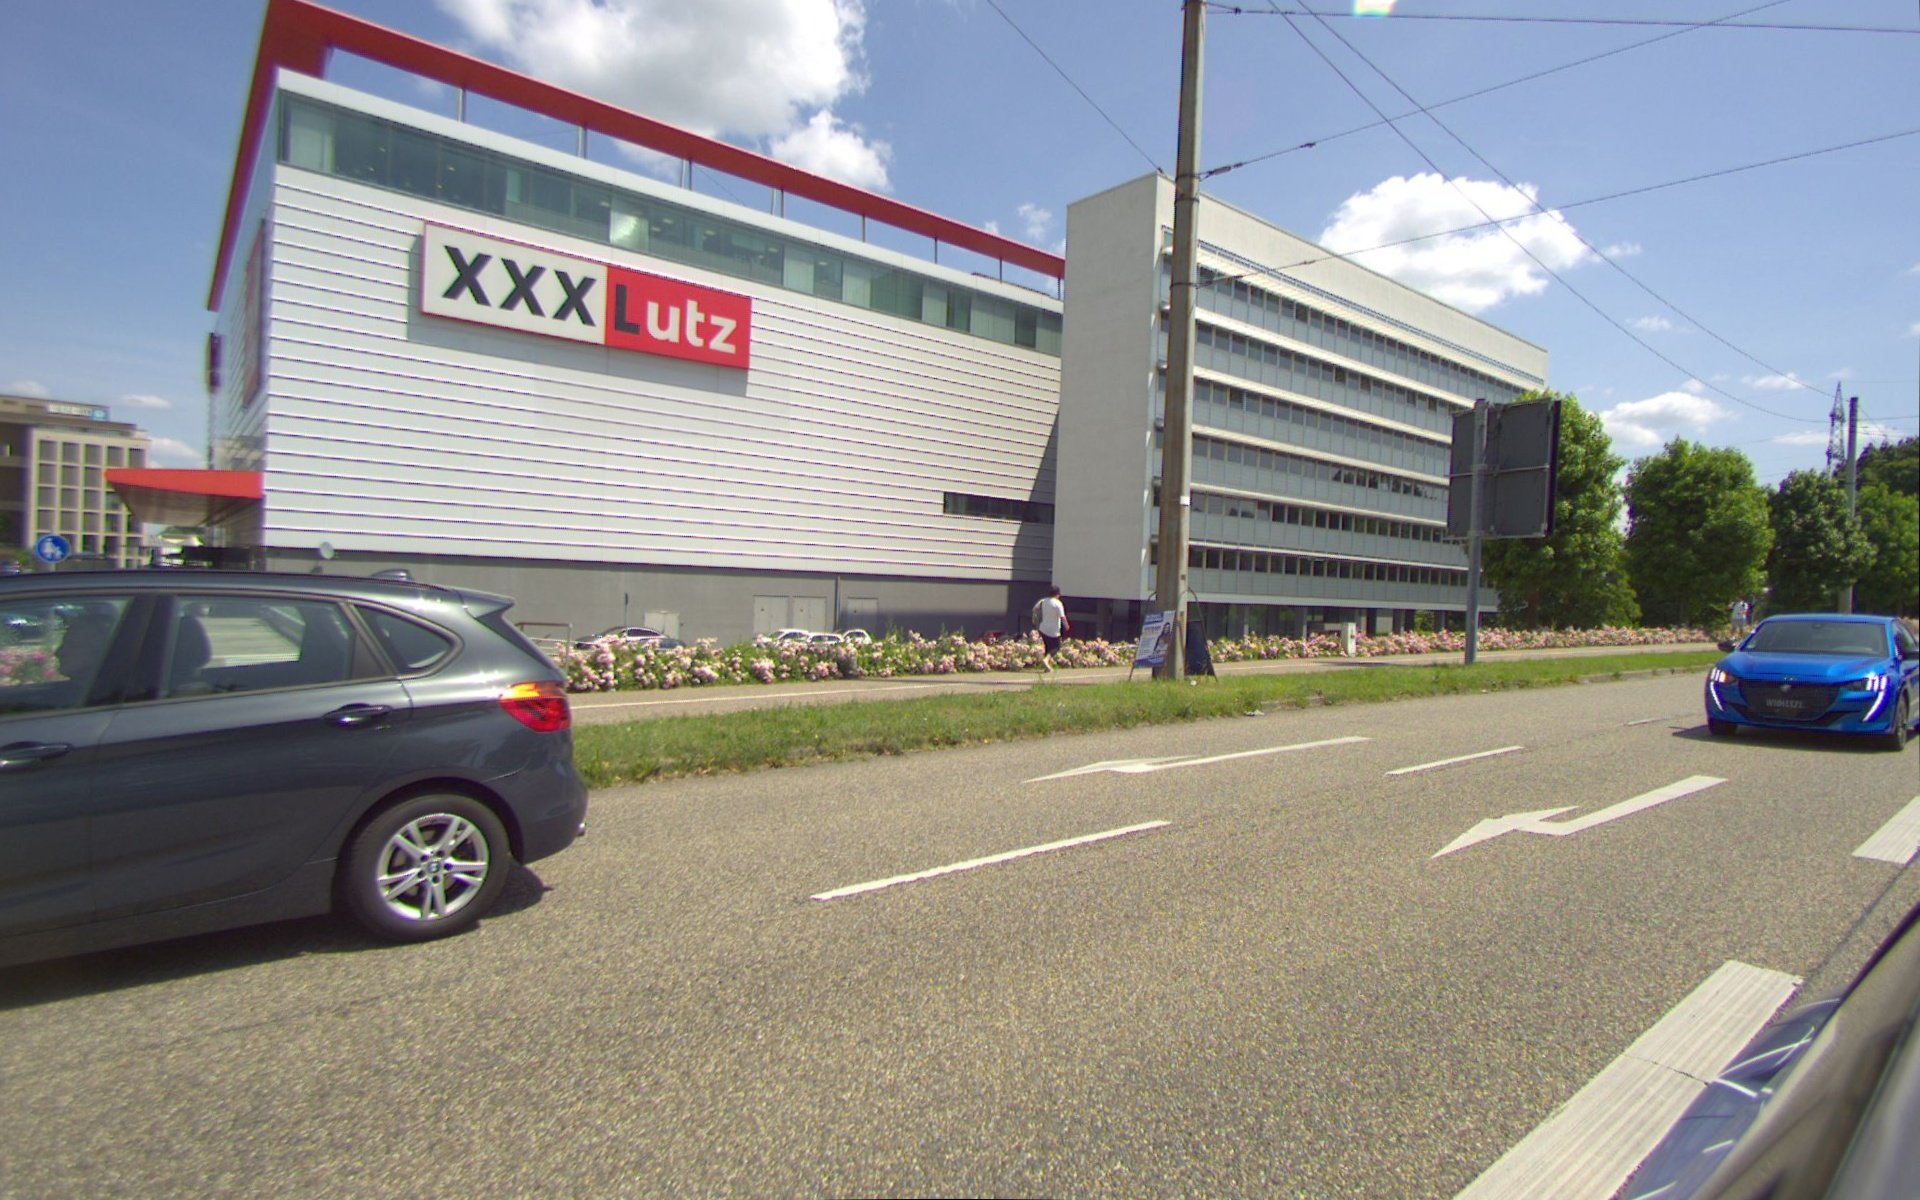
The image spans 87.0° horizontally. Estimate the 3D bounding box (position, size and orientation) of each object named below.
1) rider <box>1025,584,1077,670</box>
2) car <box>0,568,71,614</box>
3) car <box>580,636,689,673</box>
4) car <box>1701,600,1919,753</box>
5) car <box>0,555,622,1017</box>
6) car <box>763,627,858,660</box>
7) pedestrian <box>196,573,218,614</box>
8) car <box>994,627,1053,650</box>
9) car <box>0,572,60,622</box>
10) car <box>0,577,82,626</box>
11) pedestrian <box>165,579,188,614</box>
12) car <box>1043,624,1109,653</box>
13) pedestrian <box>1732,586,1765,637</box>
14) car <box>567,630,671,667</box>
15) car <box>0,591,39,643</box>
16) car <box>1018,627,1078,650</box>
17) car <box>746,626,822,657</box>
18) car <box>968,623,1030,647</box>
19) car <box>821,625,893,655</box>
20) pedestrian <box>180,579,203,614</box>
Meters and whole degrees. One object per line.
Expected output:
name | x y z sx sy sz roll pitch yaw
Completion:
rider | 1.600 0.454 17.774 0.607 1.476 0.670 1 0 -41
car | -43.039 -0.403 45.972 3.930 2.039 1.997 0 0 -41
car | -14.730 2.437 45.912 4.278 1.416 1.996 0 0 -42
car | 10.352 0.750 11.946 3.931 1.473 1.840 0 1 -42
car | -3.689 0.605 4.126 4.026 1.546 1.764 0 1 -40
car | -8.365 2.394 56.917 5.056 1.632 1.997 0 0 -41
pedestrian | -34.511 -0.298 46.358 0.723 1.893 0.741 1 0 -42
car | 4.247 2.537 67.479 3.930 1.403 1.646 0 0 -41
car | -39.712 -0.136 41.657 3.930 2.039 1.997 0 1 -41
car | -35.745 0.055 37.899 4.256 1.804 1.997 0 -1 -41
pedestrian | -35.362 -0.155 45.674 0.723 1.577 0.741 1 0 -42
car | 7.351 2.400 63.936 3.930 1.632 1.997 0 0 -41
pedestrian | 29.088 0.418 37.318 0.913 1.872 0.758 1 0 -38
car | -16.923 2.360 50.302 4.509 1.632 1.997 0 0 -41
car | -31.660 0.513 31.056 4.912 1.631 1.997 0 0 -41
car | 5.739 2.511 65.864 3.930 1.338 1.607 0 0 -41
car | -10.271 2.378 59.069 3.930 1.632 1.997 0 0 -41
car | 2.694 2.405 69.705 3.930 1.465 1.997 0 0 -41
car | -6.313 2.418 62.215 3.930 1.632 1.997 0 0 -41
pedestrian | -34.356 -0.159 45.234 0.723 1.577 0.741 1 0 -42
